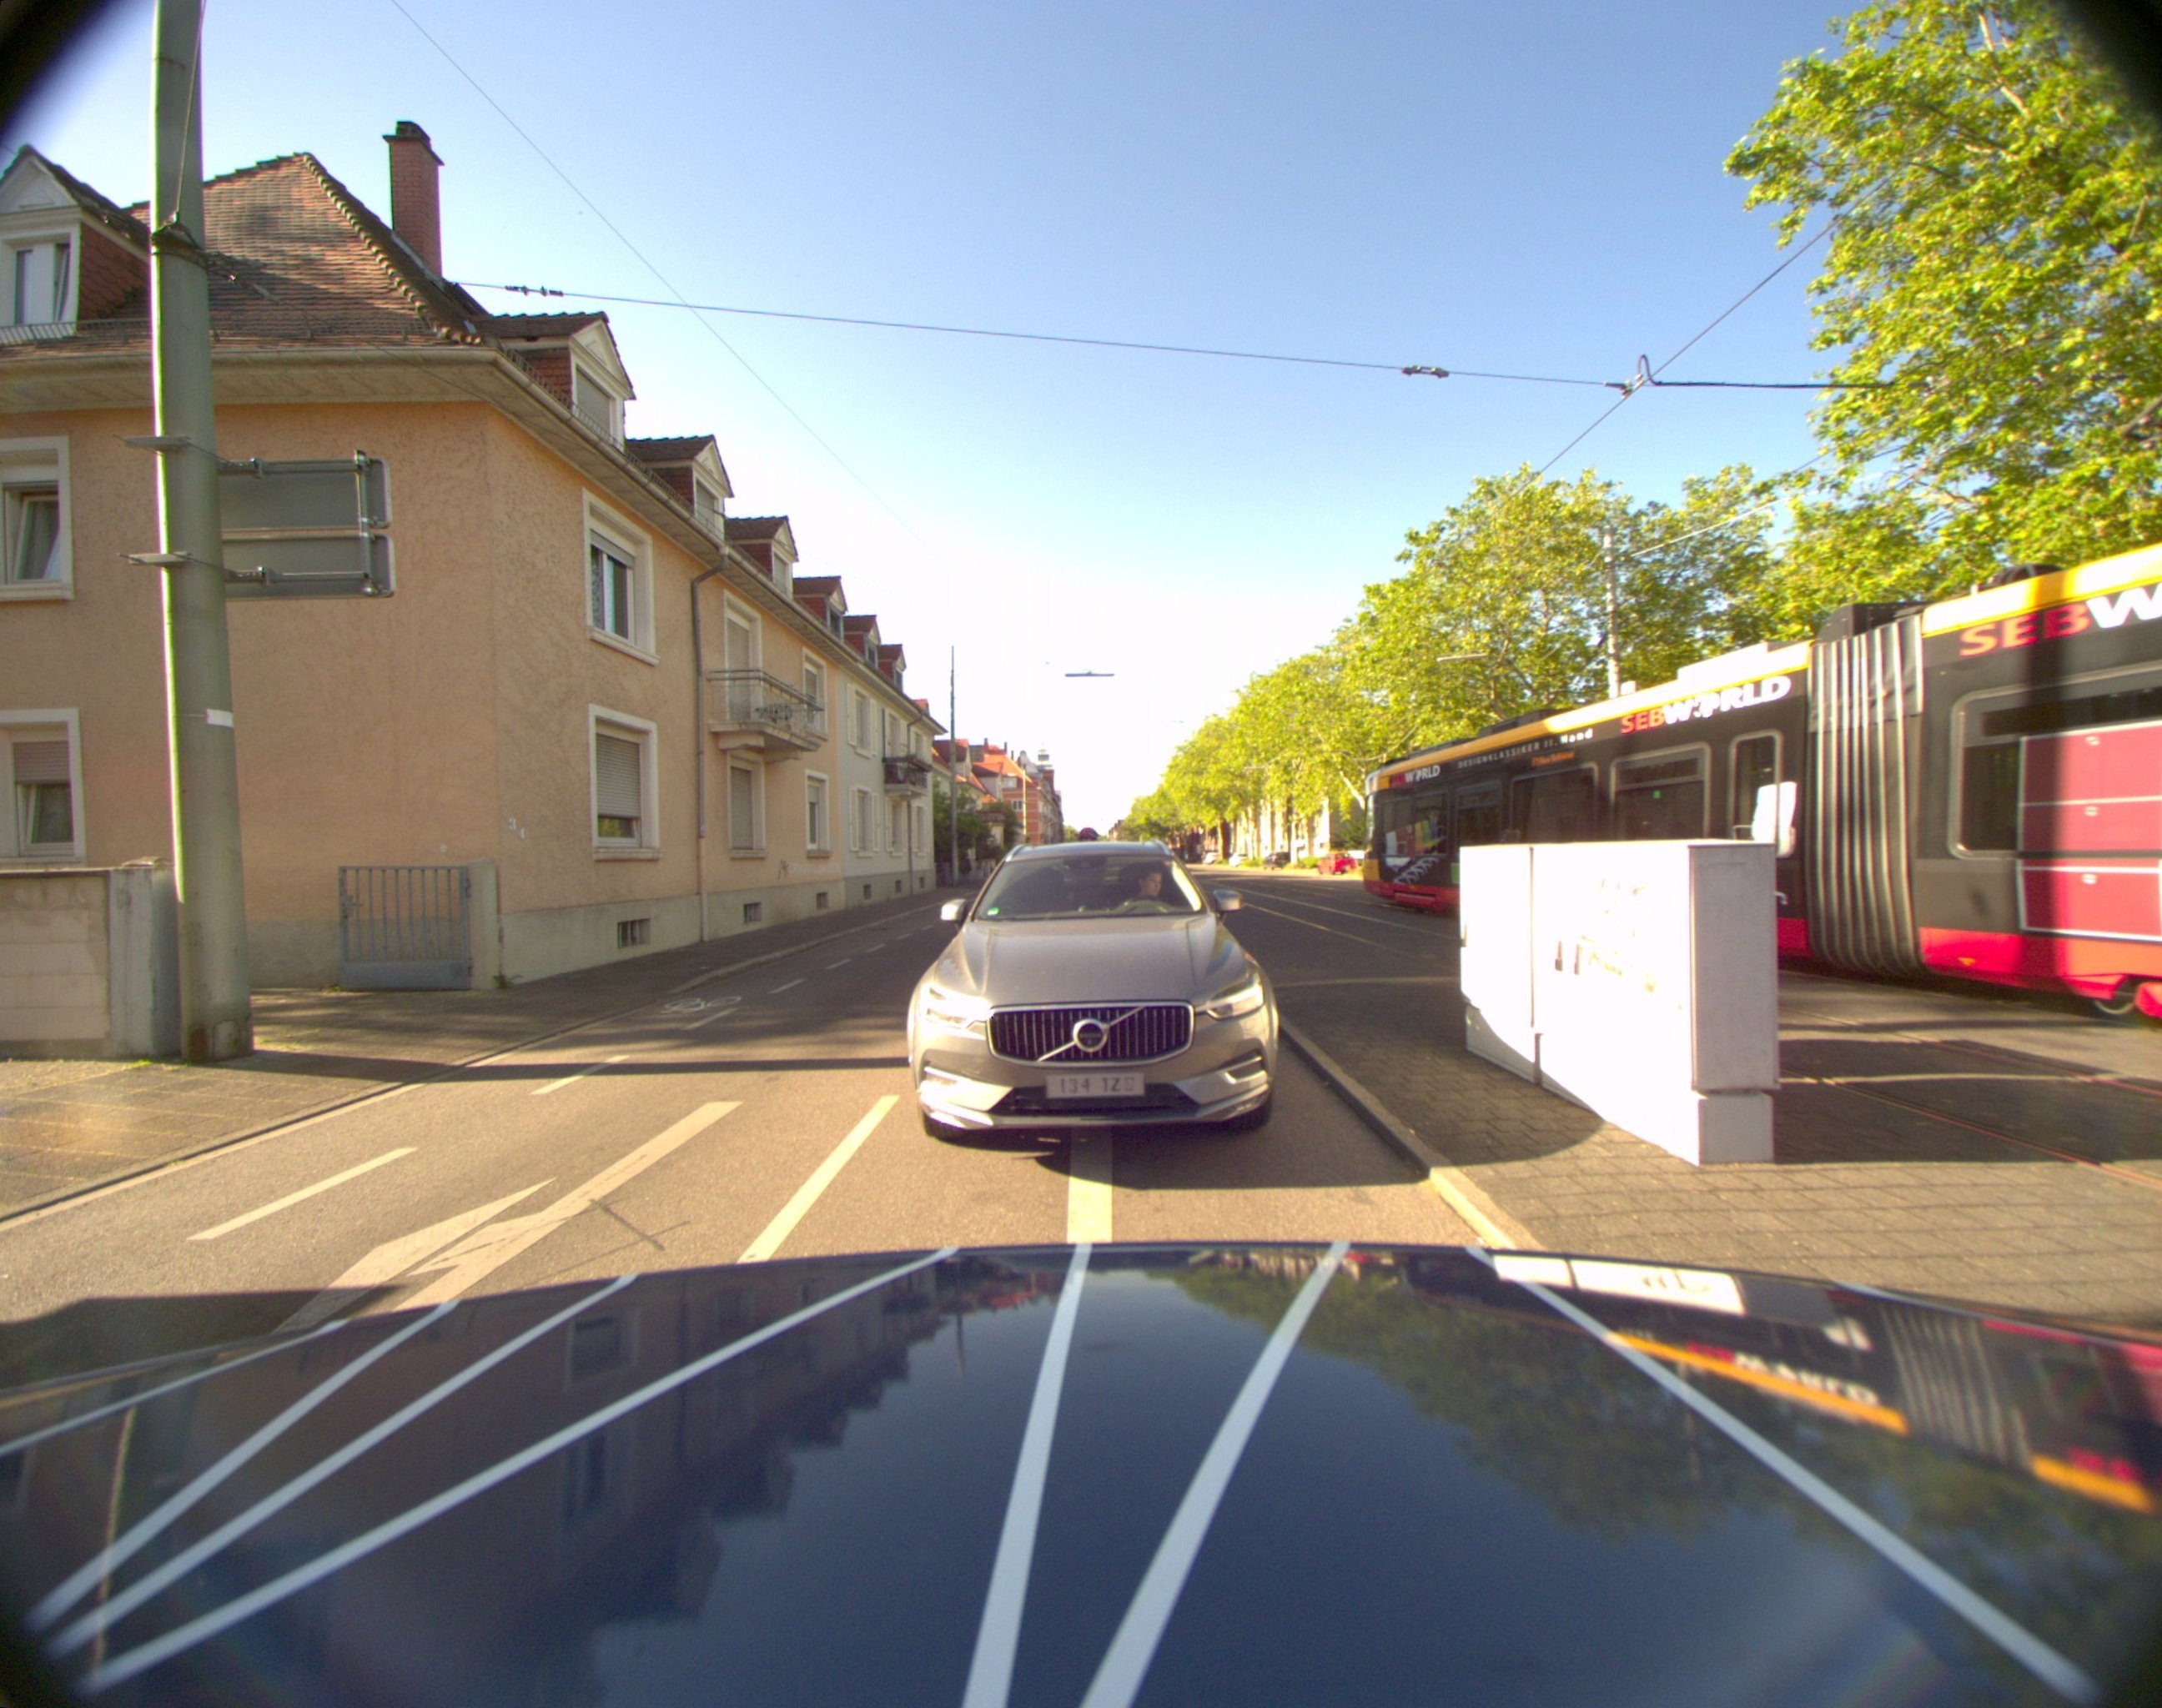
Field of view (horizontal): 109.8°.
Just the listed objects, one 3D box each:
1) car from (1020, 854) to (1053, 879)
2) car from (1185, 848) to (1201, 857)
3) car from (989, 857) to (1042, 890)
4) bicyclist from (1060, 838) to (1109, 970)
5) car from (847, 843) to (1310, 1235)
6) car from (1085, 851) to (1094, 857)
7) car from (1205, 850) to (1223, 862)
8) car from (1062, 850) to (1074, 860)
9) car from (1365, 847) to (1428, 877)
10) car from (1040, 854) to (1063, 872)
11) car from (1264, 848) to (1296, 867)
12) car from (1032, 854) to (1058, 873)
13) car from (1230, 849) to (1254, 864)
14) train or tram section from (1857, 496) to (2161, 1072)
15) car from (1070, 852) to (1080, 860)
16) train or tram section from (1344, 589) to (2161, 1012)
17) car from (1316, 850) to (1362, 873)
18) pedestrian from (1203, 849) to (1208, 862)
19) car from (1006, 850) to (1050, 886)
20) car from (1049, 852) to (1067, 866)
[{"bbox_3d":[-2.803,0.789,48.331,1.882,1.477,3.999,-1,0,-1],"label":"car"},{"bbox_3d":[18.521,-0.231,125.679,1.882,1.542,3.999,-1,0,-2],"label":"car"},{"bbox_3d":[-3.138,0.925,37.170,1.881,1.477,4.001,-1,0,5],"label":"car"},{"bbox_3d":[0.053,0.652,10.220,0.600,1.709,0.662,-1,1,1],"label":"bicyclist"},{"bbox_3d":[0.021,0.772,5.448,1.917,1.621,4.502,-1,0,1],"label":"car"},{"bbox_3d":[1.945,0.017,172.734,1.882,1.477,3.999,-1,0,-1],"label":"car"},{"bbox_3d":[17.633,0.268,100.869,1.882,1.542,4.000,-1,0,2],"label":"car"},{"bbox_3d":[-2.099,0.128,121.901,1.882,1.477,3.999,-1,0,-1],"label":"car"},{"bbox_3d":[16.952,0.400,40.989,1.882,1.477,4.000,-1,0,2],"label":"car"},{"bbox_3d":[-2.607,0.776,67.093,1.882,1.477,3.999,-1,0,-1],"label":"car"},{"bbox_3d":[17.229,0.316,65.985,1.882,1.567,4.000,-1,0,2],"label":"car"},{"bbox_3d":[-2.850,0.738,60.760,1.882,1.477,3.999,-1,0,-1],"label":"car"},{"bbox_3d":[17.707,0.275,83.566,1.882,1.542,4.000,-1,0,2],"label":"car"},{"bbox_3d":[8.588,-0.446,0.639,3.064,3.592,11.944,-1,0,-4],"label":"train or tram section"},{"bbox_3d":[-1.105,0.316,148.003,1.882,1.477,3.999,-1,0,-1],"label":"car"},{"bbox_3d":[8.215,-0.489,12.999,3.063,3.592,12.888,-1,0,1],"label":"train or tram section"},{"bbox_3d":[17.029,0.468,50.336,1.882,1.477,4.000,-1,0,2],"label":"car"},{"bbox_3d":[15.609,0.221,95.218,0.578,1.632,0.677,-1,1,3],"label":"pedestrian"},{"bbox_3d":[-2.904,0.732,42.855,1.932,1.834,5.313,-1,0,2],"label":"car"},{"bbox_3d":[-2.539,0.588,85.655,1.882,1.477,3.999,-1,0,-1],"label":"car"}]
